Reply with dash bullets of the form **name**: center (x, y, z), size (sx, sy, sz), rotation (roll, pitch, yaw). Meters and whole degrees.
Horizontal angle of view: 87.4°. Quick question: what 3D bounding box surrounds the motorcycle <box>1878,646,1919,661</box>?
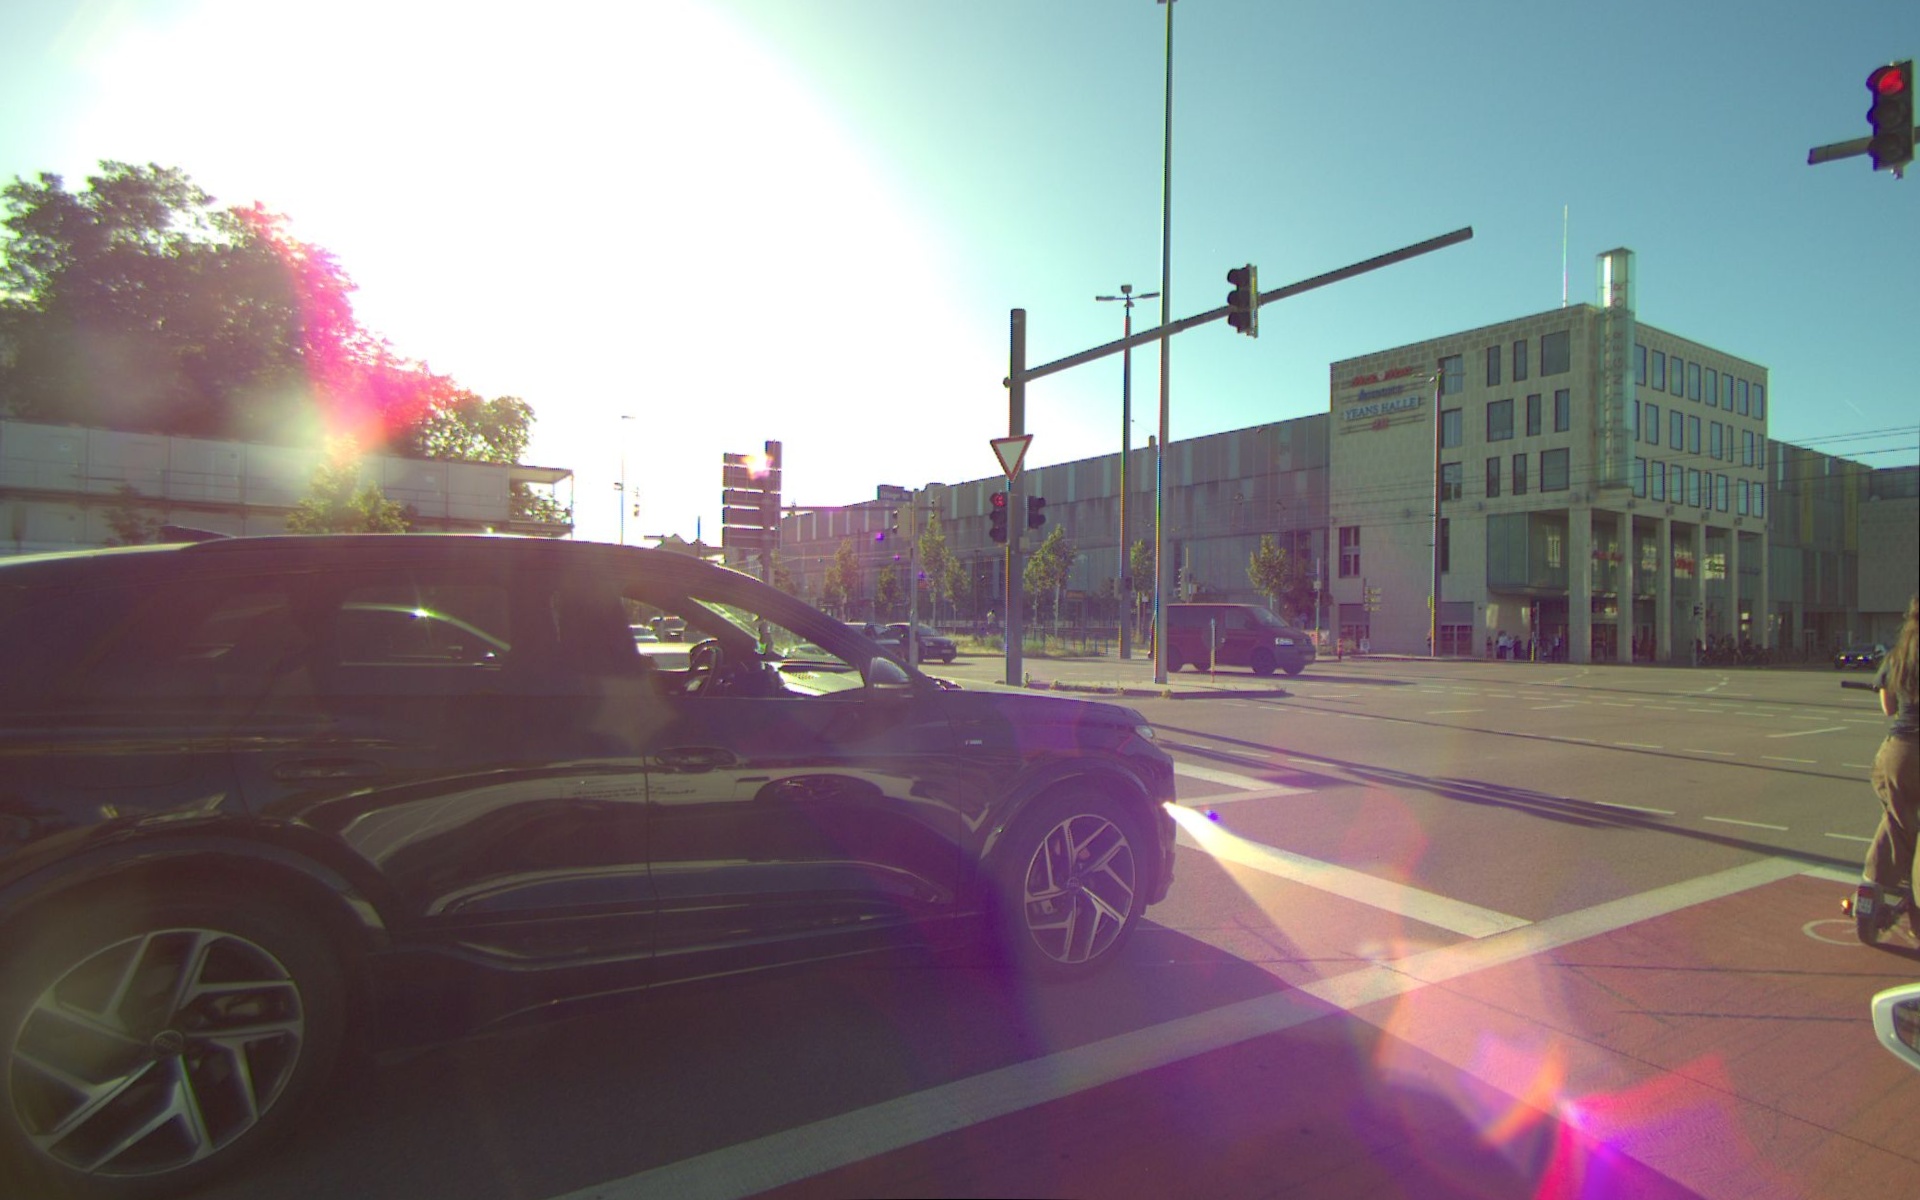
- **motorcycle**: center (70.653, 3.985, 75.286), size (1.106, 1.006, 2.582), rotation (2, 0, -38)

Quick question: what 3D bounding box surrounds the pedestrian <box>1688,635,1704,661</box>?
- **pedestrian**: center (47.470, 3.088, 64.787), size (0.622, 1.667, 0.589), rotation (1, -1, -30)

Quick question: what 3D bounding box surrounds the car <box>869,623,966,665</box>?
- **car**: center (-1.667, 1.681, 38.901), size (1.660, 1.530, 3.824), rotation (2, -2, -44)

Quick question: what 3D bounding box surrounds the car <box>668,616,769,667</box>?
- **car**: center (-9.962, 1.661, 41.219), size (1.875, 1.947, 4.867), rotation (2, -2, -44)

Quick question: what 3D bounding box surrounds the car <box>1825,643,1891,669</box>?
- **car**: center (49.666, 3.085, 55.525), size (3.975, 1.375, 1.668), rotation (1, -1, -31)

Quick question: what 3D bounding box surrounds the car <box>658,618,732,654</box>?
- **car**: center (-14.470, 1.920, 54.631), size (1.873, 1.888, 4.771), rotation (2, -2, -43)

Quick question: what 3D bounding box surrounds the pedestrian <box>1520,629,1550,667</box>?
- **pedestrian**: center (26.164, 2.192, 45.706), size (0.994, 1.697, 0.818), rotation (1, -1, -33)

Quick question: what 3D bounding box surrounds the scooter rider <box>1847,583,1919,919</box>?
- **scooter rider**: center (4.625, 0.703, 4.768), size (0.445, 1.550, 0.548), rotation (1, -1, -38)

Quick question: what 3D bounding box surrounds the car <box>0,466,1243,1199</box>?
- **car**: center (-1.277, 0.605, 4.064), size (4.614, 1.729, 2.153), rotation (1, -1, -33)

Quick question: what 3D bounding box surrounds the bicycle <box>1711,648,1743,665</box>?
- **bicycle**: center (43.510, 3.180, 56.985), size (2.191, 0.915, 0.633), rotation (1, -1, -29)

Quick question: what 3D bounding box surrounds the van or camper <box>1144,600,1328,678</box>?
- **van or camper**: center (7.810, 1.060, 28.773), size (1.992, 2.040, 4.783), rotation (2, -2, -42)

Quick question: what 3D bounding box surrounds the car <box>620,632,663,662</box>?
- **car**: center (-15.847, 2.293, 49.878), size (1.704, 1.395, 3.922), rotation (1, -1, -22)

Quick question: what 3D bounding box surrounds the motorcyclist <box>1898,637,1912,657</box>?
- **motorcyclist**: center (70.877, 3.536, 75.336), size (0.657, 1.424, 0.623), rotation (2, 0, -38)

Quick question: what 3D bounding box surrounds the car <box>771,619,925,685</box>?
- **car**: center (-2.728, 1.256, 25.370), size (1.850, 1.500, 3.972), rotation (0, -2, 31)

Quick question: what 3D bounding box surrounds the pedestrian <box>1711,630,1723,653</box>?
- **pedestrian**: center (56.630, 3.096, 75.154), size (0.510, 1.752, 0.472), rotation (2, 0, 9)

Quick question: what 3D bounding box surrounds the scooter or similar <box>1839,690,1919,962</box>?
- **scooter or similar**: center (4.370, 1.006, 4.687), size (0.832, 1.122, 0.303), rotation (2, -1, -42)

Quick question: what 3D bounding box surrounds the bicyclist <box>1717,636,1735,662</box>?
- **bicyclist**: center (43.424, 2.765, 56.930), size (0.581, 1.467, 0.623), rotation (1, -1, -28)
